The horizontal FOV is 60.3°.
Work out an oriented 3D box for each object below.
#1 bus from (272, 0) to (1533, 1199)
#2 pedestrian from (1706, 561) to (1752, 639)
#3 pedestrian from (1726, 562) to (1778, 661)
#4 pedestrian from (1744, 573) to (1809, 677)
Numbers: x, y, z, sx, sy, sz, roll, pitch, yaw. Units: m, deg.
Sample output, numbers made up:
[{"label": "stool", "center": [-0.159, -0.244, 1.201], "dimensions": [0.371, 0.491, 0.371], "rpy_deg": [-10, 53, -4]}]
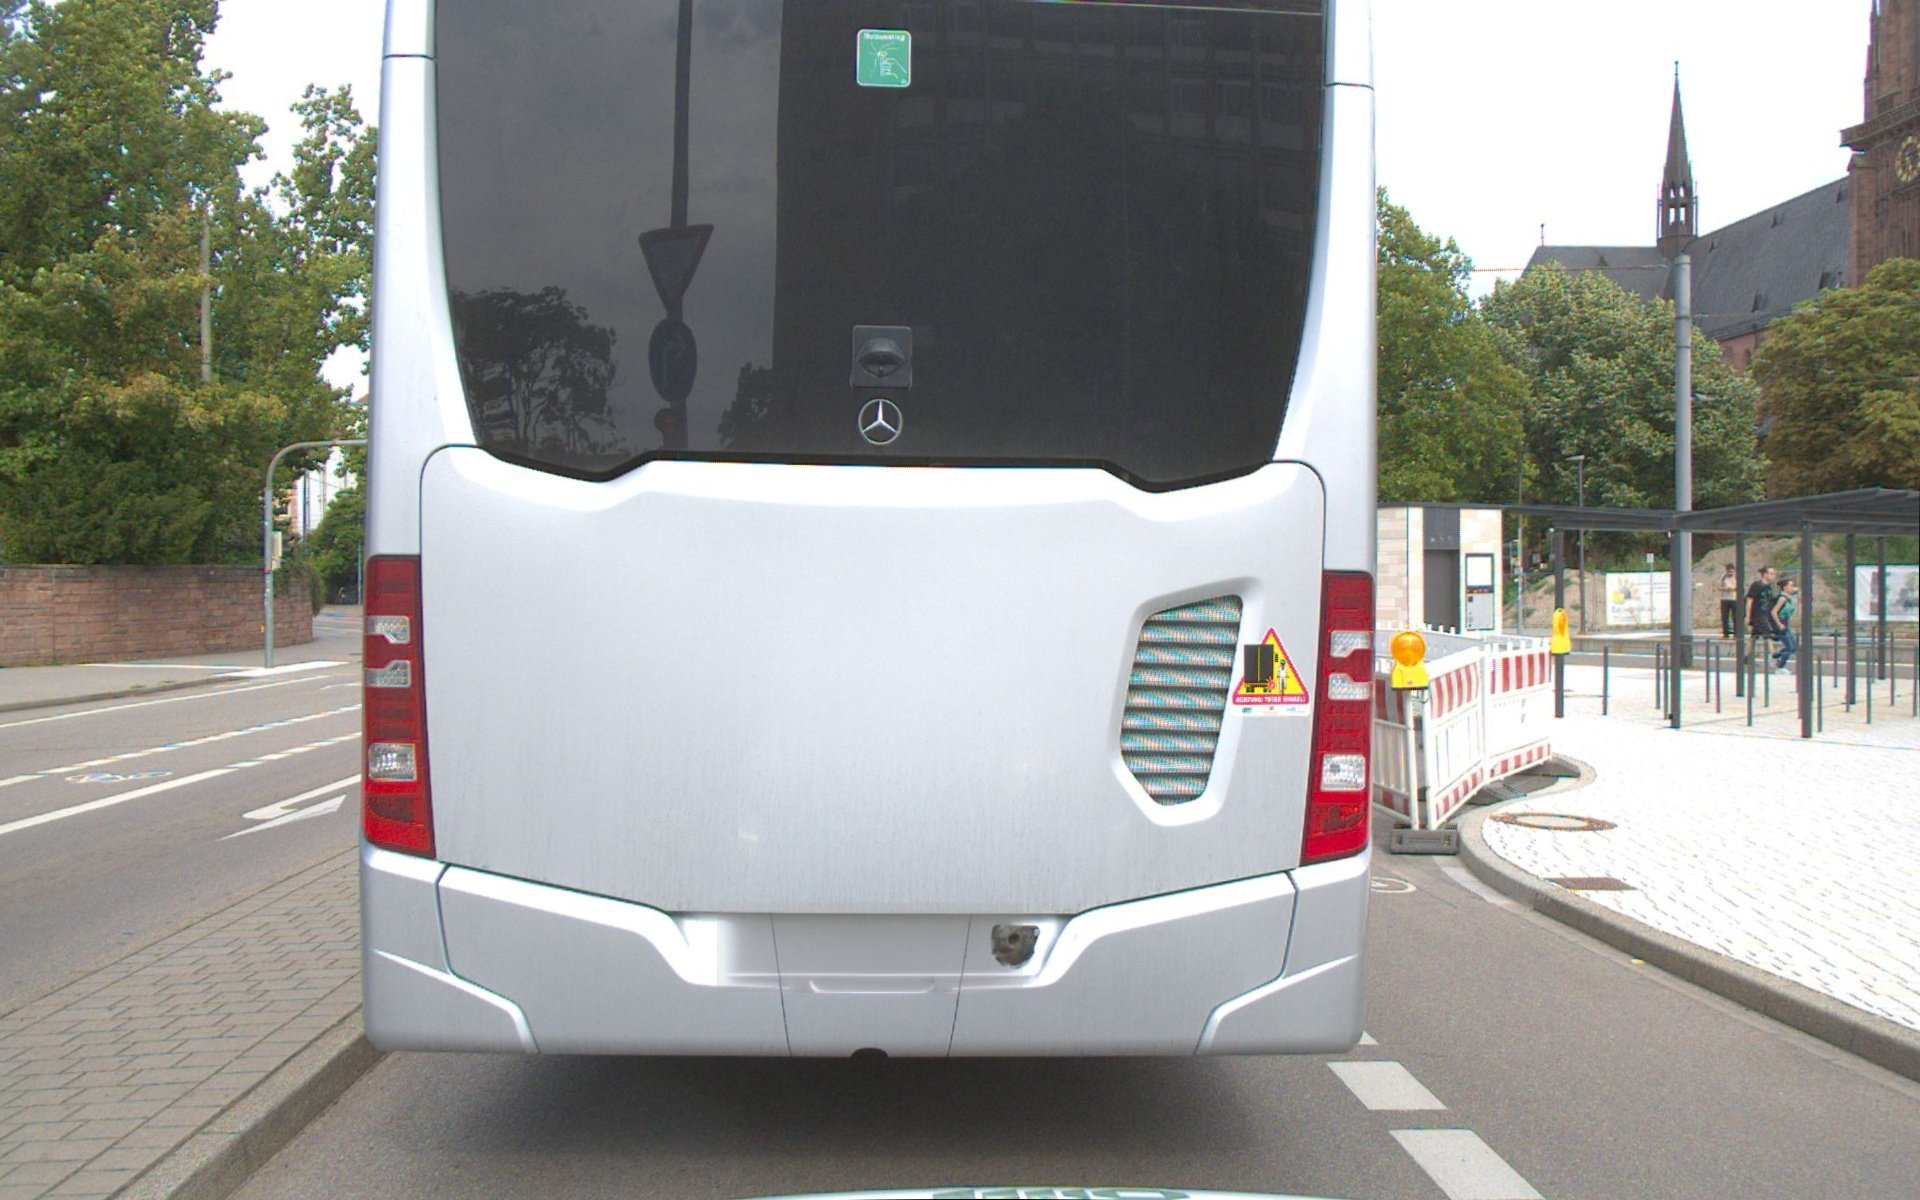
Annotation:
[{"label": "bus", "center": [-0.056, -0.412, 10.578], "dimensions": [2.649, 3.498, 14.184], "rpy_deg": [0, 0, 1]}, {"label": "pedestrian", "center": [18.463, -0.006, 39.710], "dimensions": [0.803, 1.832, 0.753], "rpy_deg": [0, 3, 9]}, {"label": "pedestrian", "center": [13.725, 0.188, 28.659], "dimensions": [0.526, 1.683, 0.621], "rpy_deg": [-2, 3, -38]}, {"label": "pedestrian", "center": [13.369, 0.393, 27.086], "dimensions": [0.533, 1.631, 0.787], "rpy_deg": [-2, 3, -38]}]
